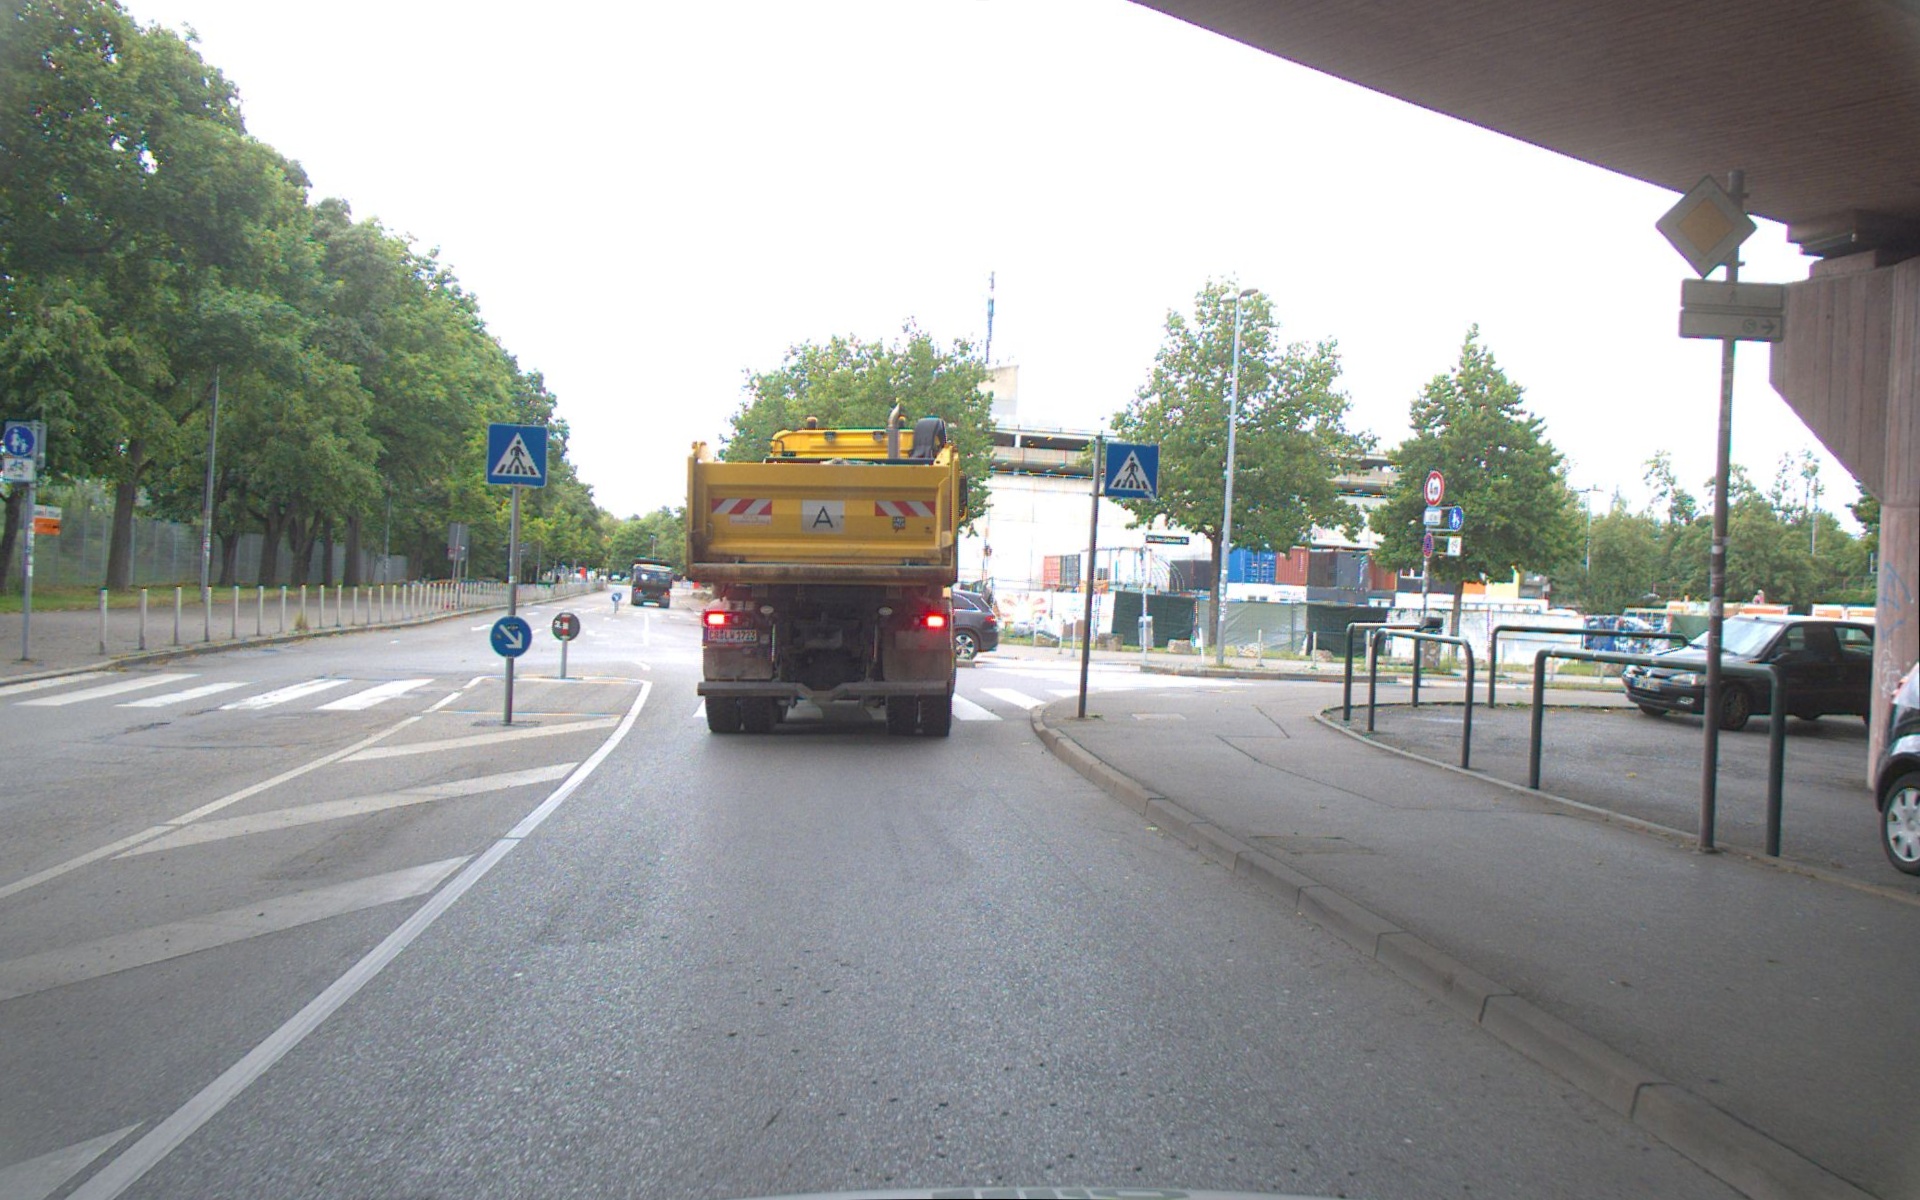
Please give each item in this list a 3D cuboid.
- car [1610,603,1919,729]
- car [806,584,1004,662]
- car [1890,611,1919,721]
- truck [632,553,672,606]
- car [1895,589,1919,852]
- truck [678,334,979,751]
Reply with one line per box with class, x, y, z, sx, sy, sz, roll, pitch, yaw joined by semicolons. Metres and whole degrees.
car;10.327;0.830;20.969;3.624;1.352;1.505;3;2;-13
car;-1.256;0.515;38.310;4.443;1.601;1.845;2;0;-2
car;14.930;0.959;22.408;4.164;1.445;1.505;1;2;-15
truck;-21.964;-1.397;117.779;2.626;3.621;7.900;0;0;-12
car;6.084;0.725;7.423;1.574;1.421;3.578;4;0;-2
truck;-1.250;-0.506;18.914;2.702;3.763;7.878;0;0;-1
